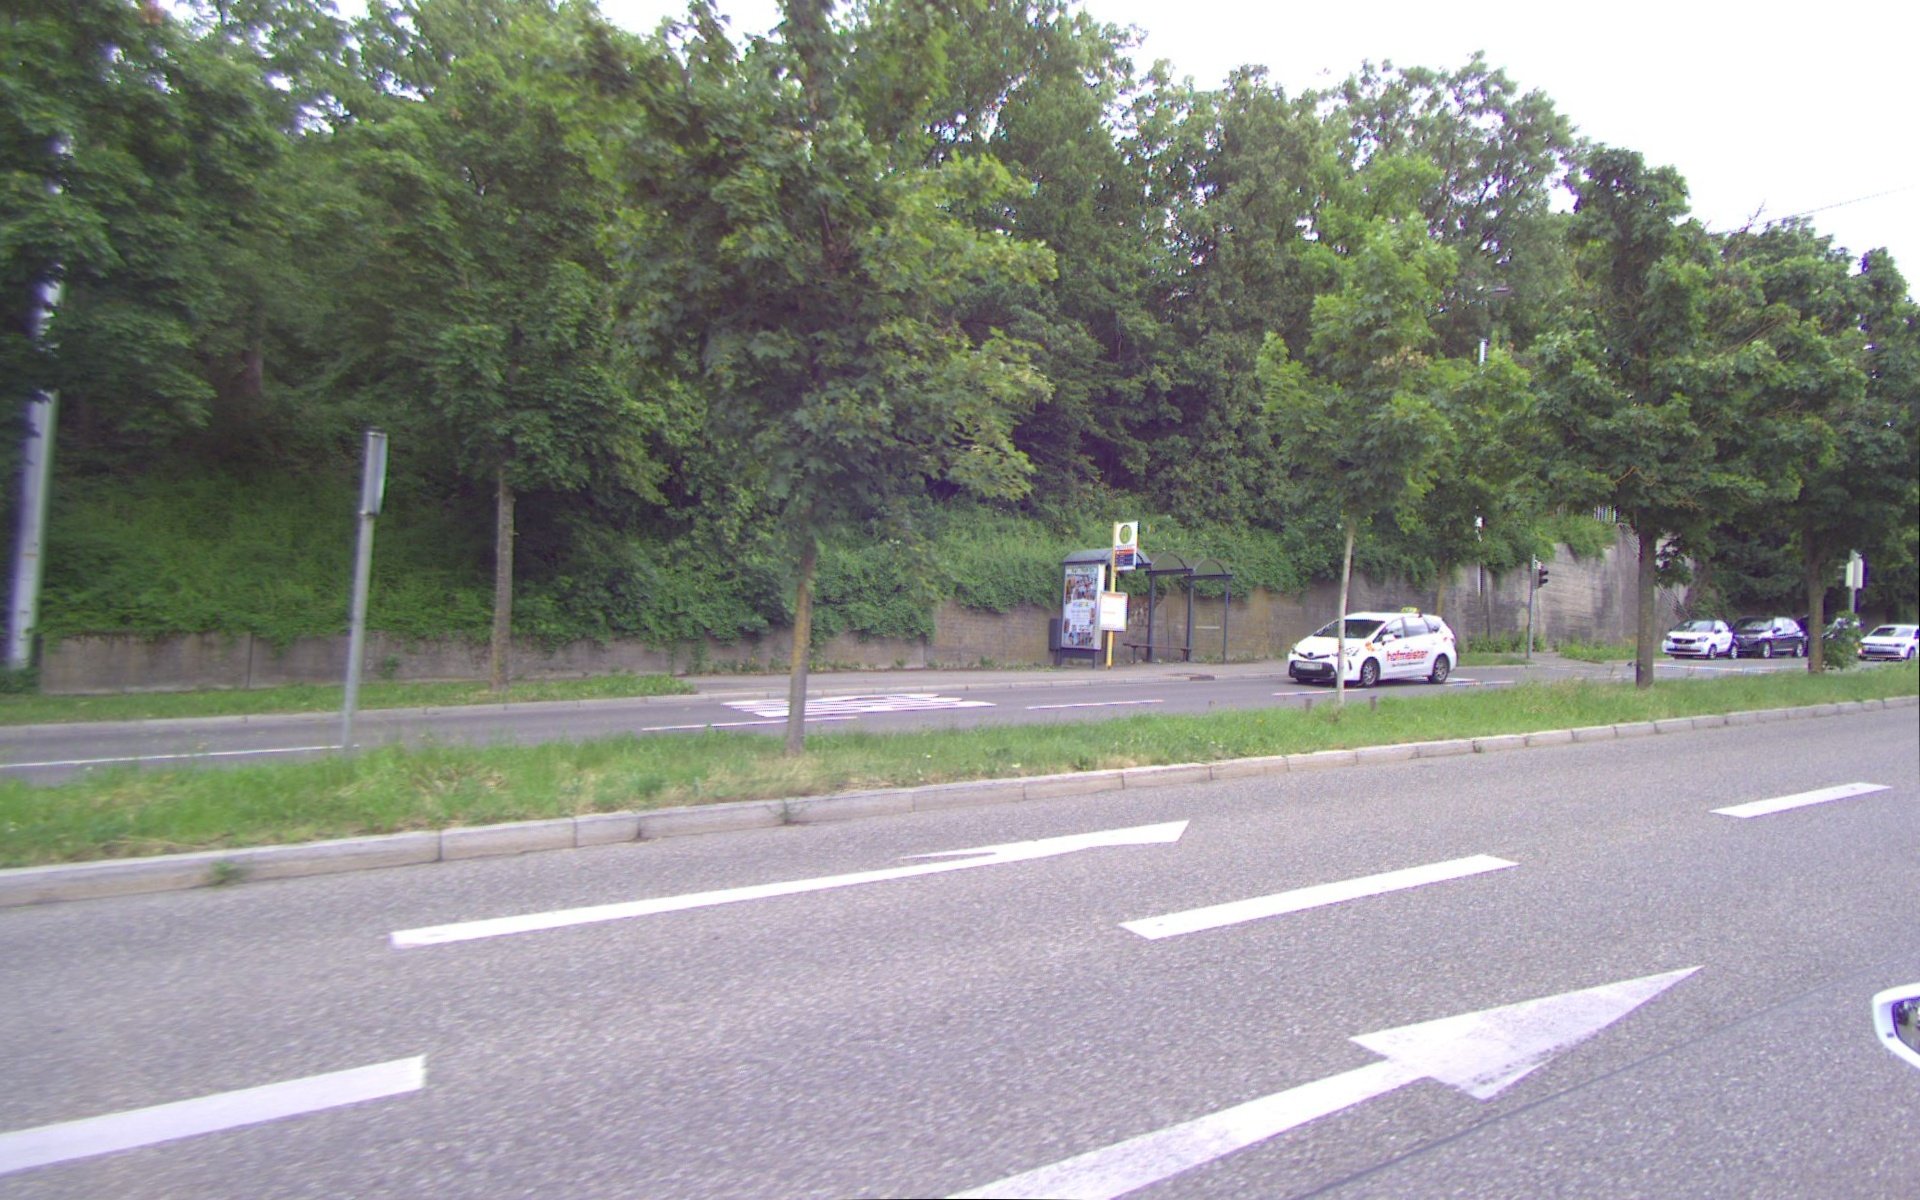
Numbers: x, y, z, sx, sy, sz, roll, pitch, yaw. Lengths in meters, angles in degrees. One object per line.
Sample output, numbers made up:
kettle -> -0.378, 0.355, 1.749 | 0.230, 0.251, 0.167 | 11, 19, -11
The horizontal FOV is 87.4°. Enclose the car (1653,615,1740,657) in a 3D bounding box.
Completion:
car -> 28.768, 1.386, 39.206 | 3.064, 1.518, 1.769 | 1, 1, -33

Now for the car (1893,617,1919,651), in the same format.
car -> 48.788, 1.696, 49.906 | 4.105, 1.651, 1.778 | 1, 1, -19

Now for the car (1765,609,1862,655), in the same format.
car -> 37.229, 1.374, 43.790 | 4.433, 1.868, 1.772 | 1, 1, -29

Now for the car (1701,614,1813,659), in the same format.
car -> 32.865, 1.495, 41.407 | 4.476, 1.679, 1.961 | 1, 1, -28

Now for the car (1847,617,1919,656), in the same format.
car -> 37.924, 1.453, 40.840 | 3.747, 1.447, 1.720 | 1, 1, -31

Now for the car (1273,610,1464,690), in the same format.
car -> 9.202, 1.046, 22.527 | 4.411, 1.581, 1.769 | 1, 1, -33
